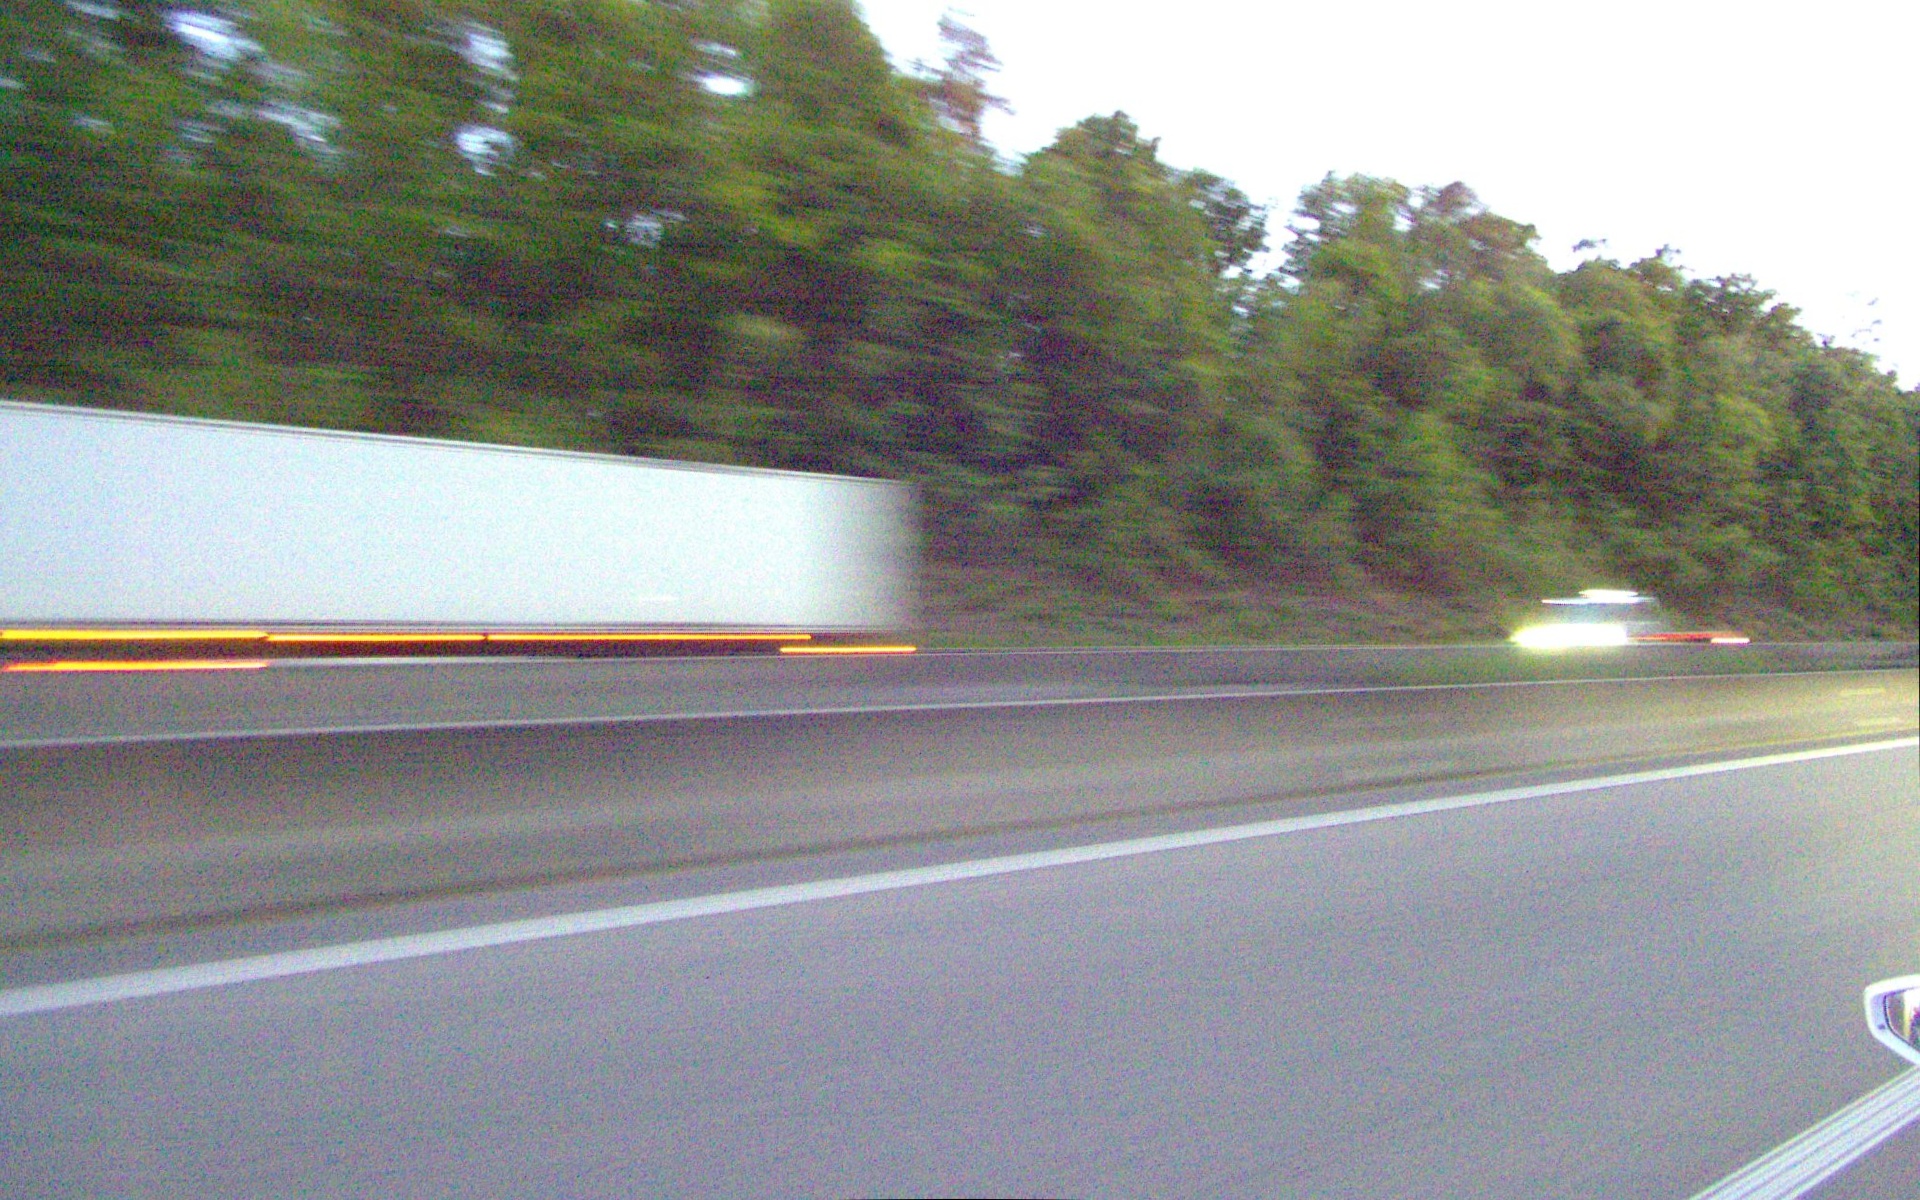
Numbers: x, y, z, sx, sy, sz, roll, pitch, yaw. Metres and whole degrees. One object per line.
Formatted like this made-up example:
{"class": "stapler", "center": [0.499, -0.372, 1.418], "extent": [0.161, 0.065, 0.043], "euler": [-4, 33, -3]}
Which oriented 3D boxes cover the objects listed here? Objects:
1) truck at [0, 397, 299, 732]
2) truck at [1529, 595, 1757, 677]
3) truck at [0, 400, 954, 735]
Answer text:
{"class": "truck", "center": [-12.988, -0.413, 13.332], "extent": [6.801, 4.056, 3.363], "euler": [1, -1, -31]}
{"class": "truck", "center": [23.754, 1.231, 34.732], "extent": [9.635, 2.543, 2.450], "euler": [1, -1, -29]}
{"class": "truck", "center": [-7.077, -0.248, 16.891], "extent": [14.331, 4.056, 3.340], "euler": [1, -1, -31]}
